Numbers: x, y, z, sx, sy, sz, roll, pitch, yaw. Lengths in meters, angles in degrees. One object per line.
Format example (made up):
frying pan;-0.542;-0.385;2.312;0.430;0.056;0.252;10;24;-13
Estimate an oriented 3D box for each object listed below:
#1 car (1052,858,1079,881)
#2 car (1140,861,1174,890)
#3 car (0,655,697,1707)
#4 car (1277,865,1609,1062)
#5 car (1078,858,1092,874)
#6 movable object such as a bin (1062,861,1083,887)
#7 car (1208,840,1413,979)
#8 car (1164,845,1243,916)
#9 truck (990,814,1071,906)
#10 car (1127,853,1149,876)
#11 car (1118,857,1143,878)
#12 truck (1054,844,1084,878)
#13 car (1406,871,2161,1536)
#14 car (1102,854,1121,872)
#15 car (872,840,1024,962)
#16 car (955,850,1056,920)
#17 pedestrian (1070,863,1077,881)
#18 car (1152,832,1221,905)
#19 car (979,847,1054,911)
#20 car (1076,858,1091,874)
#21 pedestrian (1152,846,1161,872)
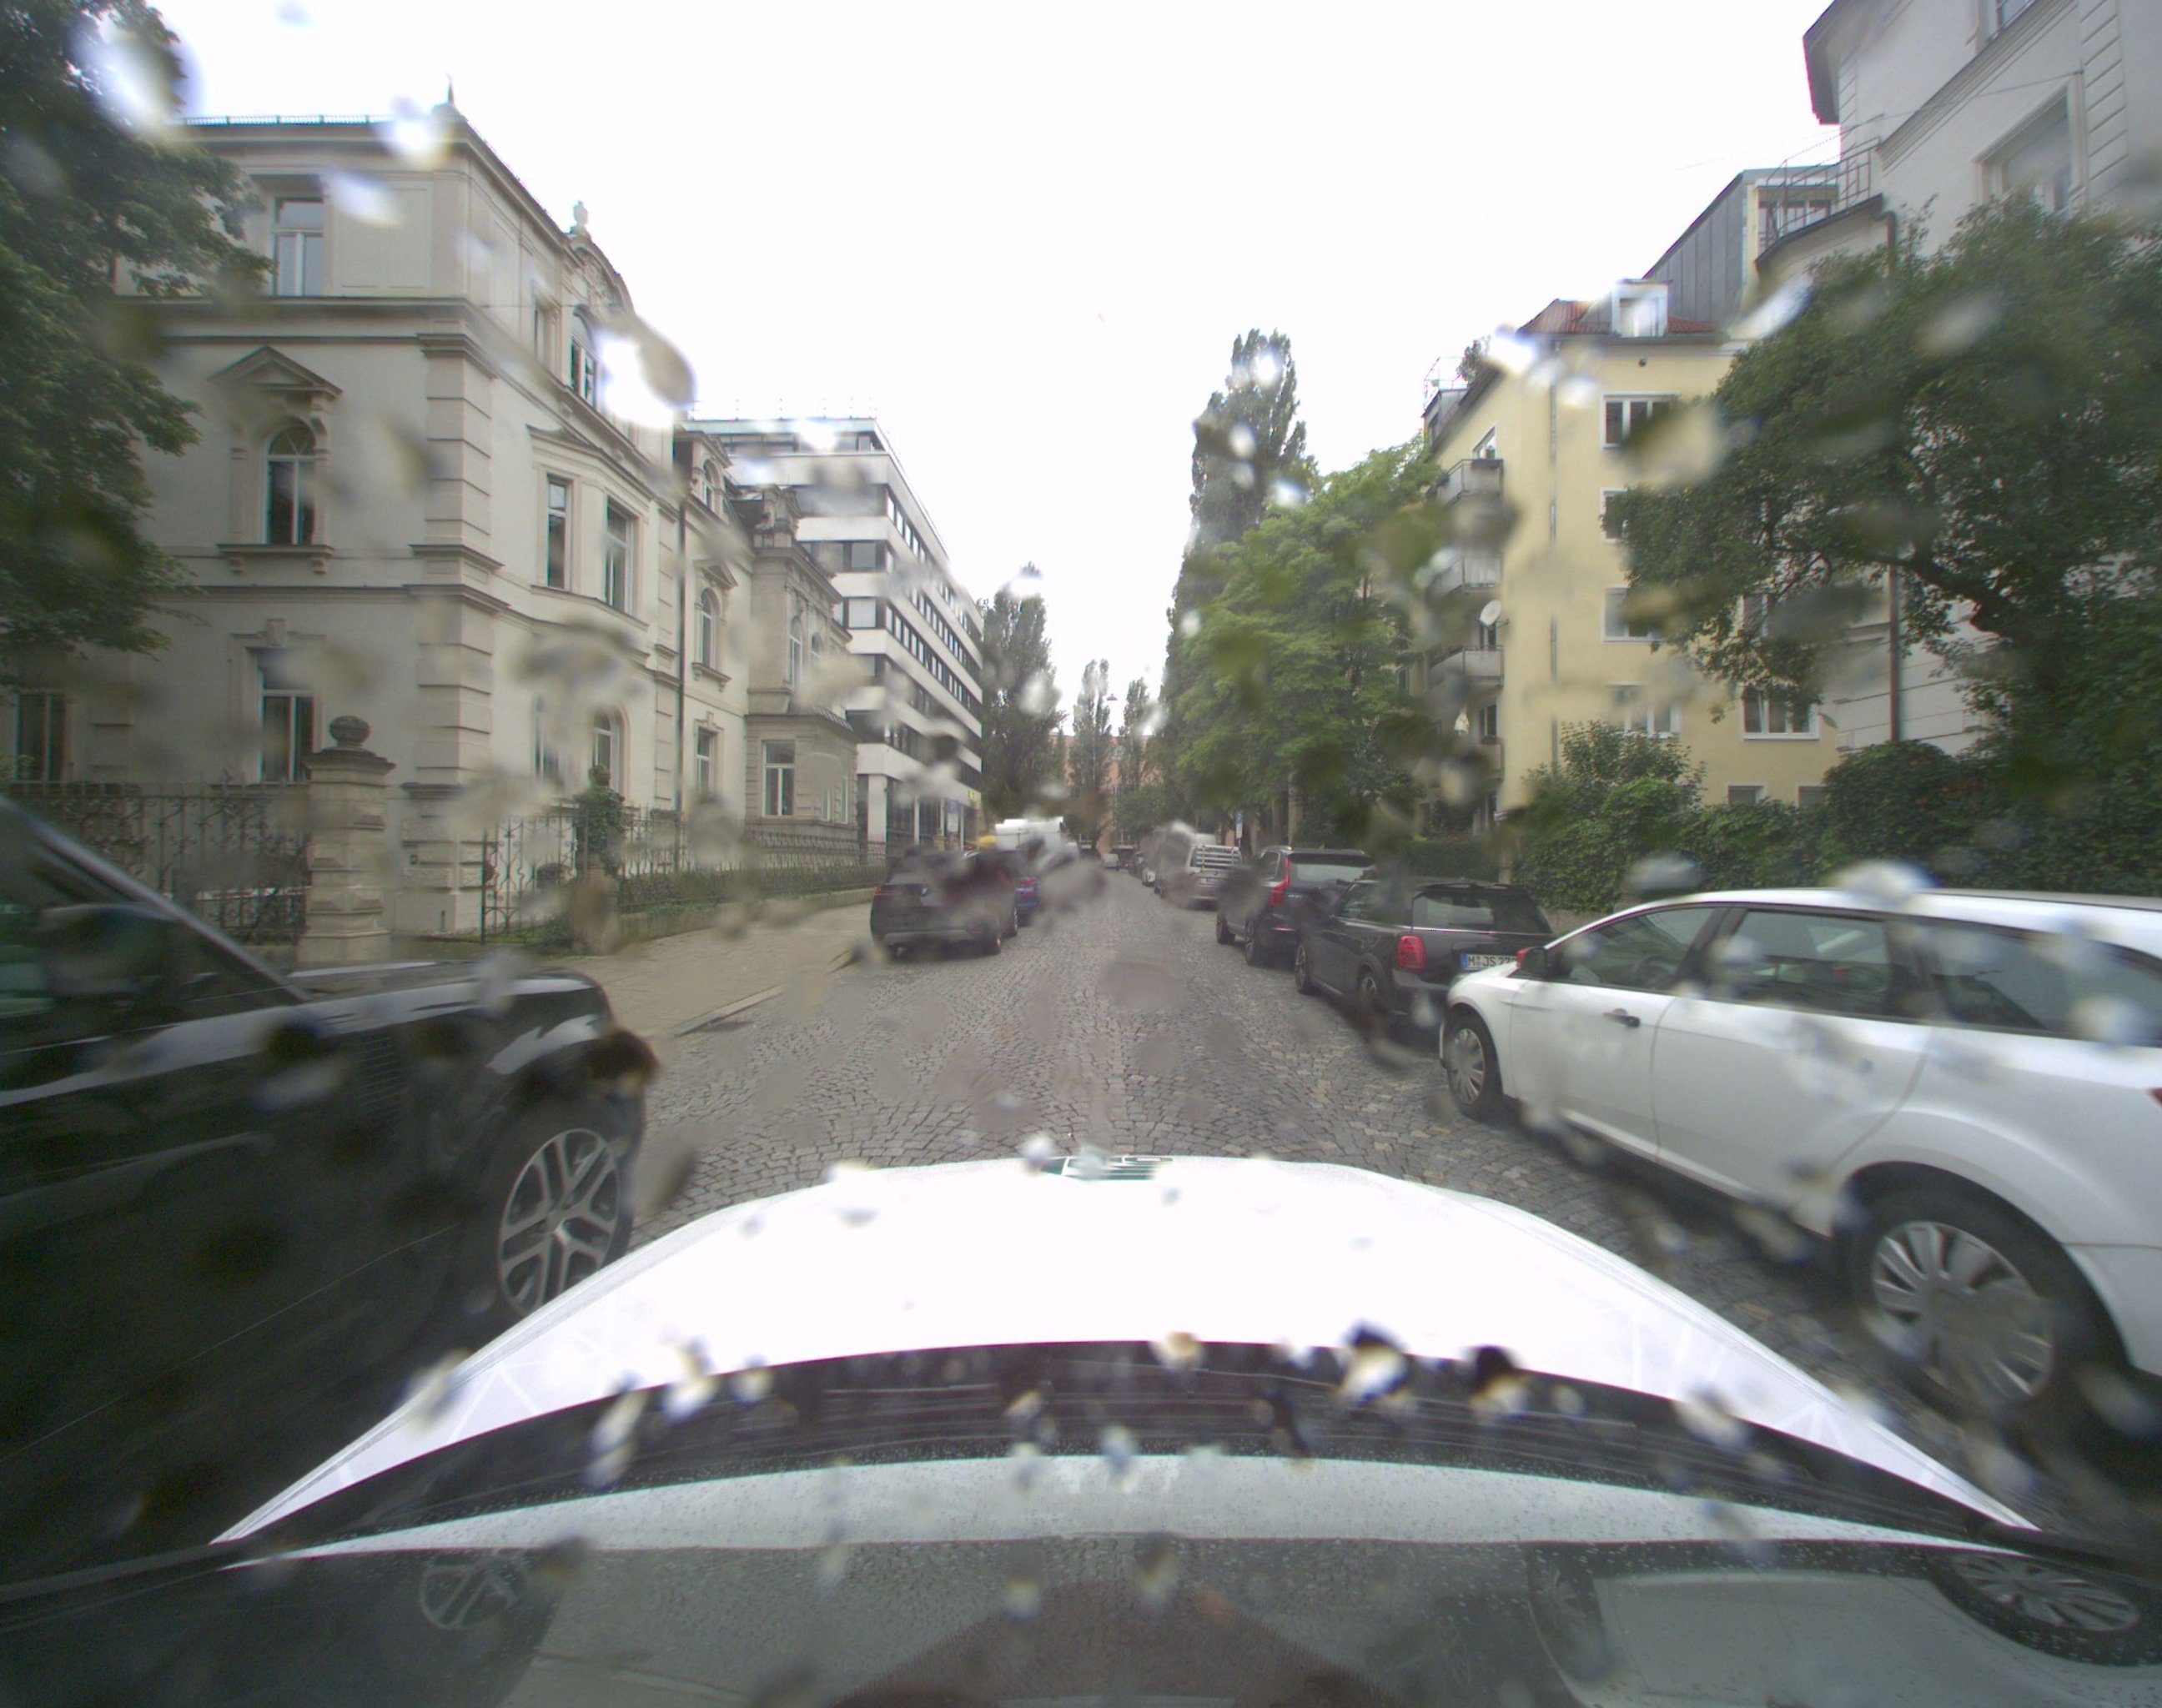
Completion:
car;-1.033;1.054;55.682;1.655;1.455;3.549;1;-1;2
car;4.114;1.136;44.302;1.594;1.486;3.479;1;-1;1
car;-2.654;0.546;0.916;1.974;1.737;4.725;1;0;3
car;3.305;0.882;8.338;1.677;1.453;3.966;3;-1;1
car;0.432;1.268;85.207;1.272;1.541;3.120;1;-1;2
movable object such as a bin;-0.446;1.072;44.238;1.060;1.363;1.290;1;-1;2
car;3.368;0.763;13.042;1.956;1.759;4.955;1;-1;1
car;3.794;0.811;25.995;1.794;1.949;4.861;4;-1;1
truck;-1.749;0.203;30.527;2.500;3.032;6.385;-1;0;1
car;4.929;0.927;70.803;1.860;1.961;4.003;1;-1;3
car;3.792;1.047;62.880;1.860;1.605;3.274;1;-1;3
truck;-0.860;0.510;59.630;1.986;2.347;4.069;1;-1;2
car;3.212;0.821;3.516;1.769;1.429;4.387;1;-1;-2
car;3.424;1.062;90.726;1.988;1.936;4.003;1;-1;3
car;-2.085;0.715;13.995;1.767;1.718;4.391;1;-1;1
car;-1.673;0.698;19.358;1.933;1.459;4.058;1;-1;1
pedestrian;-0.841;1.995;88.877;0.722;1.911;0.641;1;-1;3
car;3.998;0.515;31.786;1.888;2.426;5.612;4;0;1
car;-1.842;0.705;24.381;1.888;1.751;4.167;0;0;0
car;0.261;1.198;80.156;1.285;1.540;3.120;1;-1;2
pedestrian;7.316;0.473;78.561;0.708;2.425;0.814;-3;2;3
